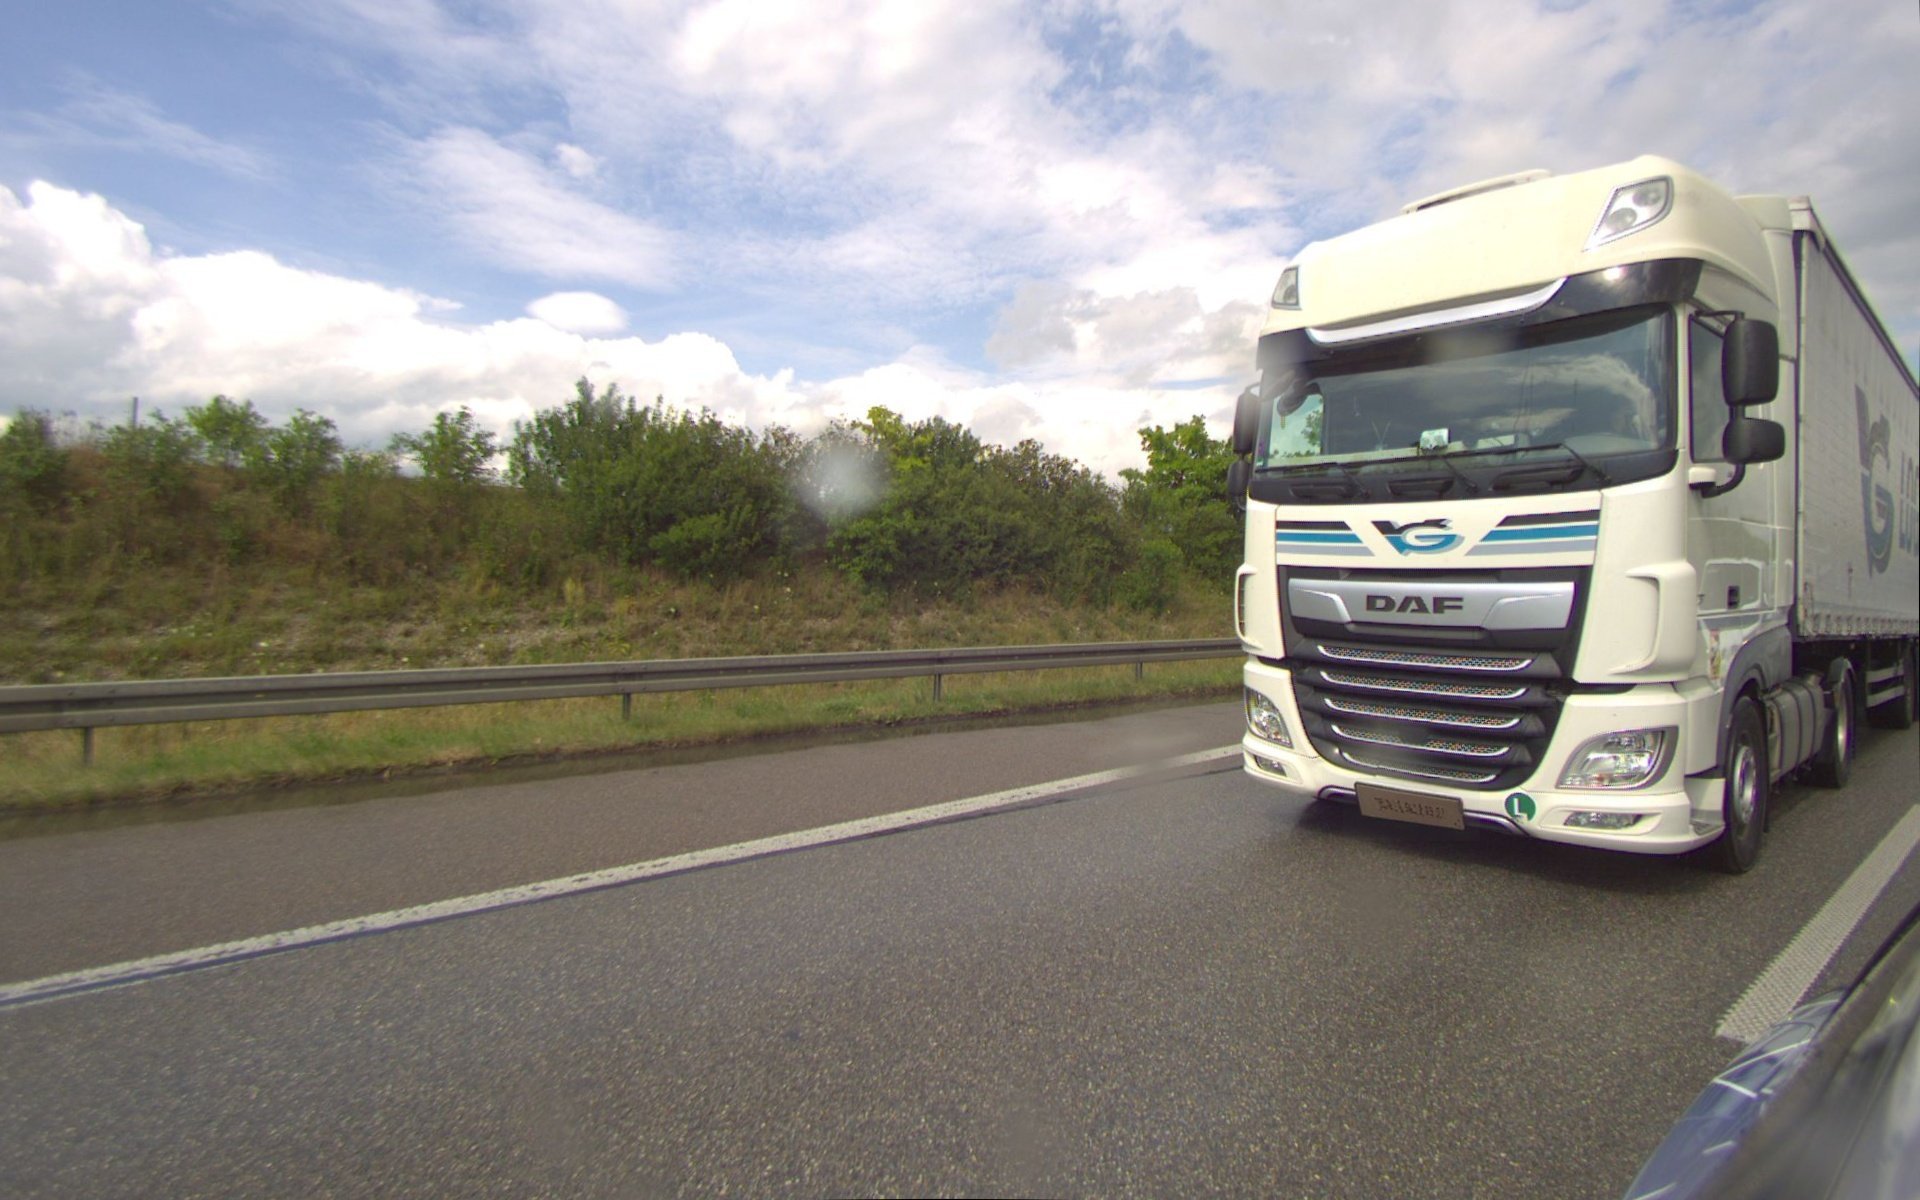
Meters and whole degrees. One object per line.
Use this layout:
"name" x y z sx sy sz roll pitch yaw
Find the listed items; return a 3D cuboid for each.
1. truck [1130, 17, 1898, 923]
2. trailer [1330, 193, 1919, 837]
"truck" 4.566 -0.577 7.748 6.286 3.940 3.288 0 0 -42
"trailer" 9.423 -0.600 12.090 13.885 3.948 3.288 -1 0 -42
